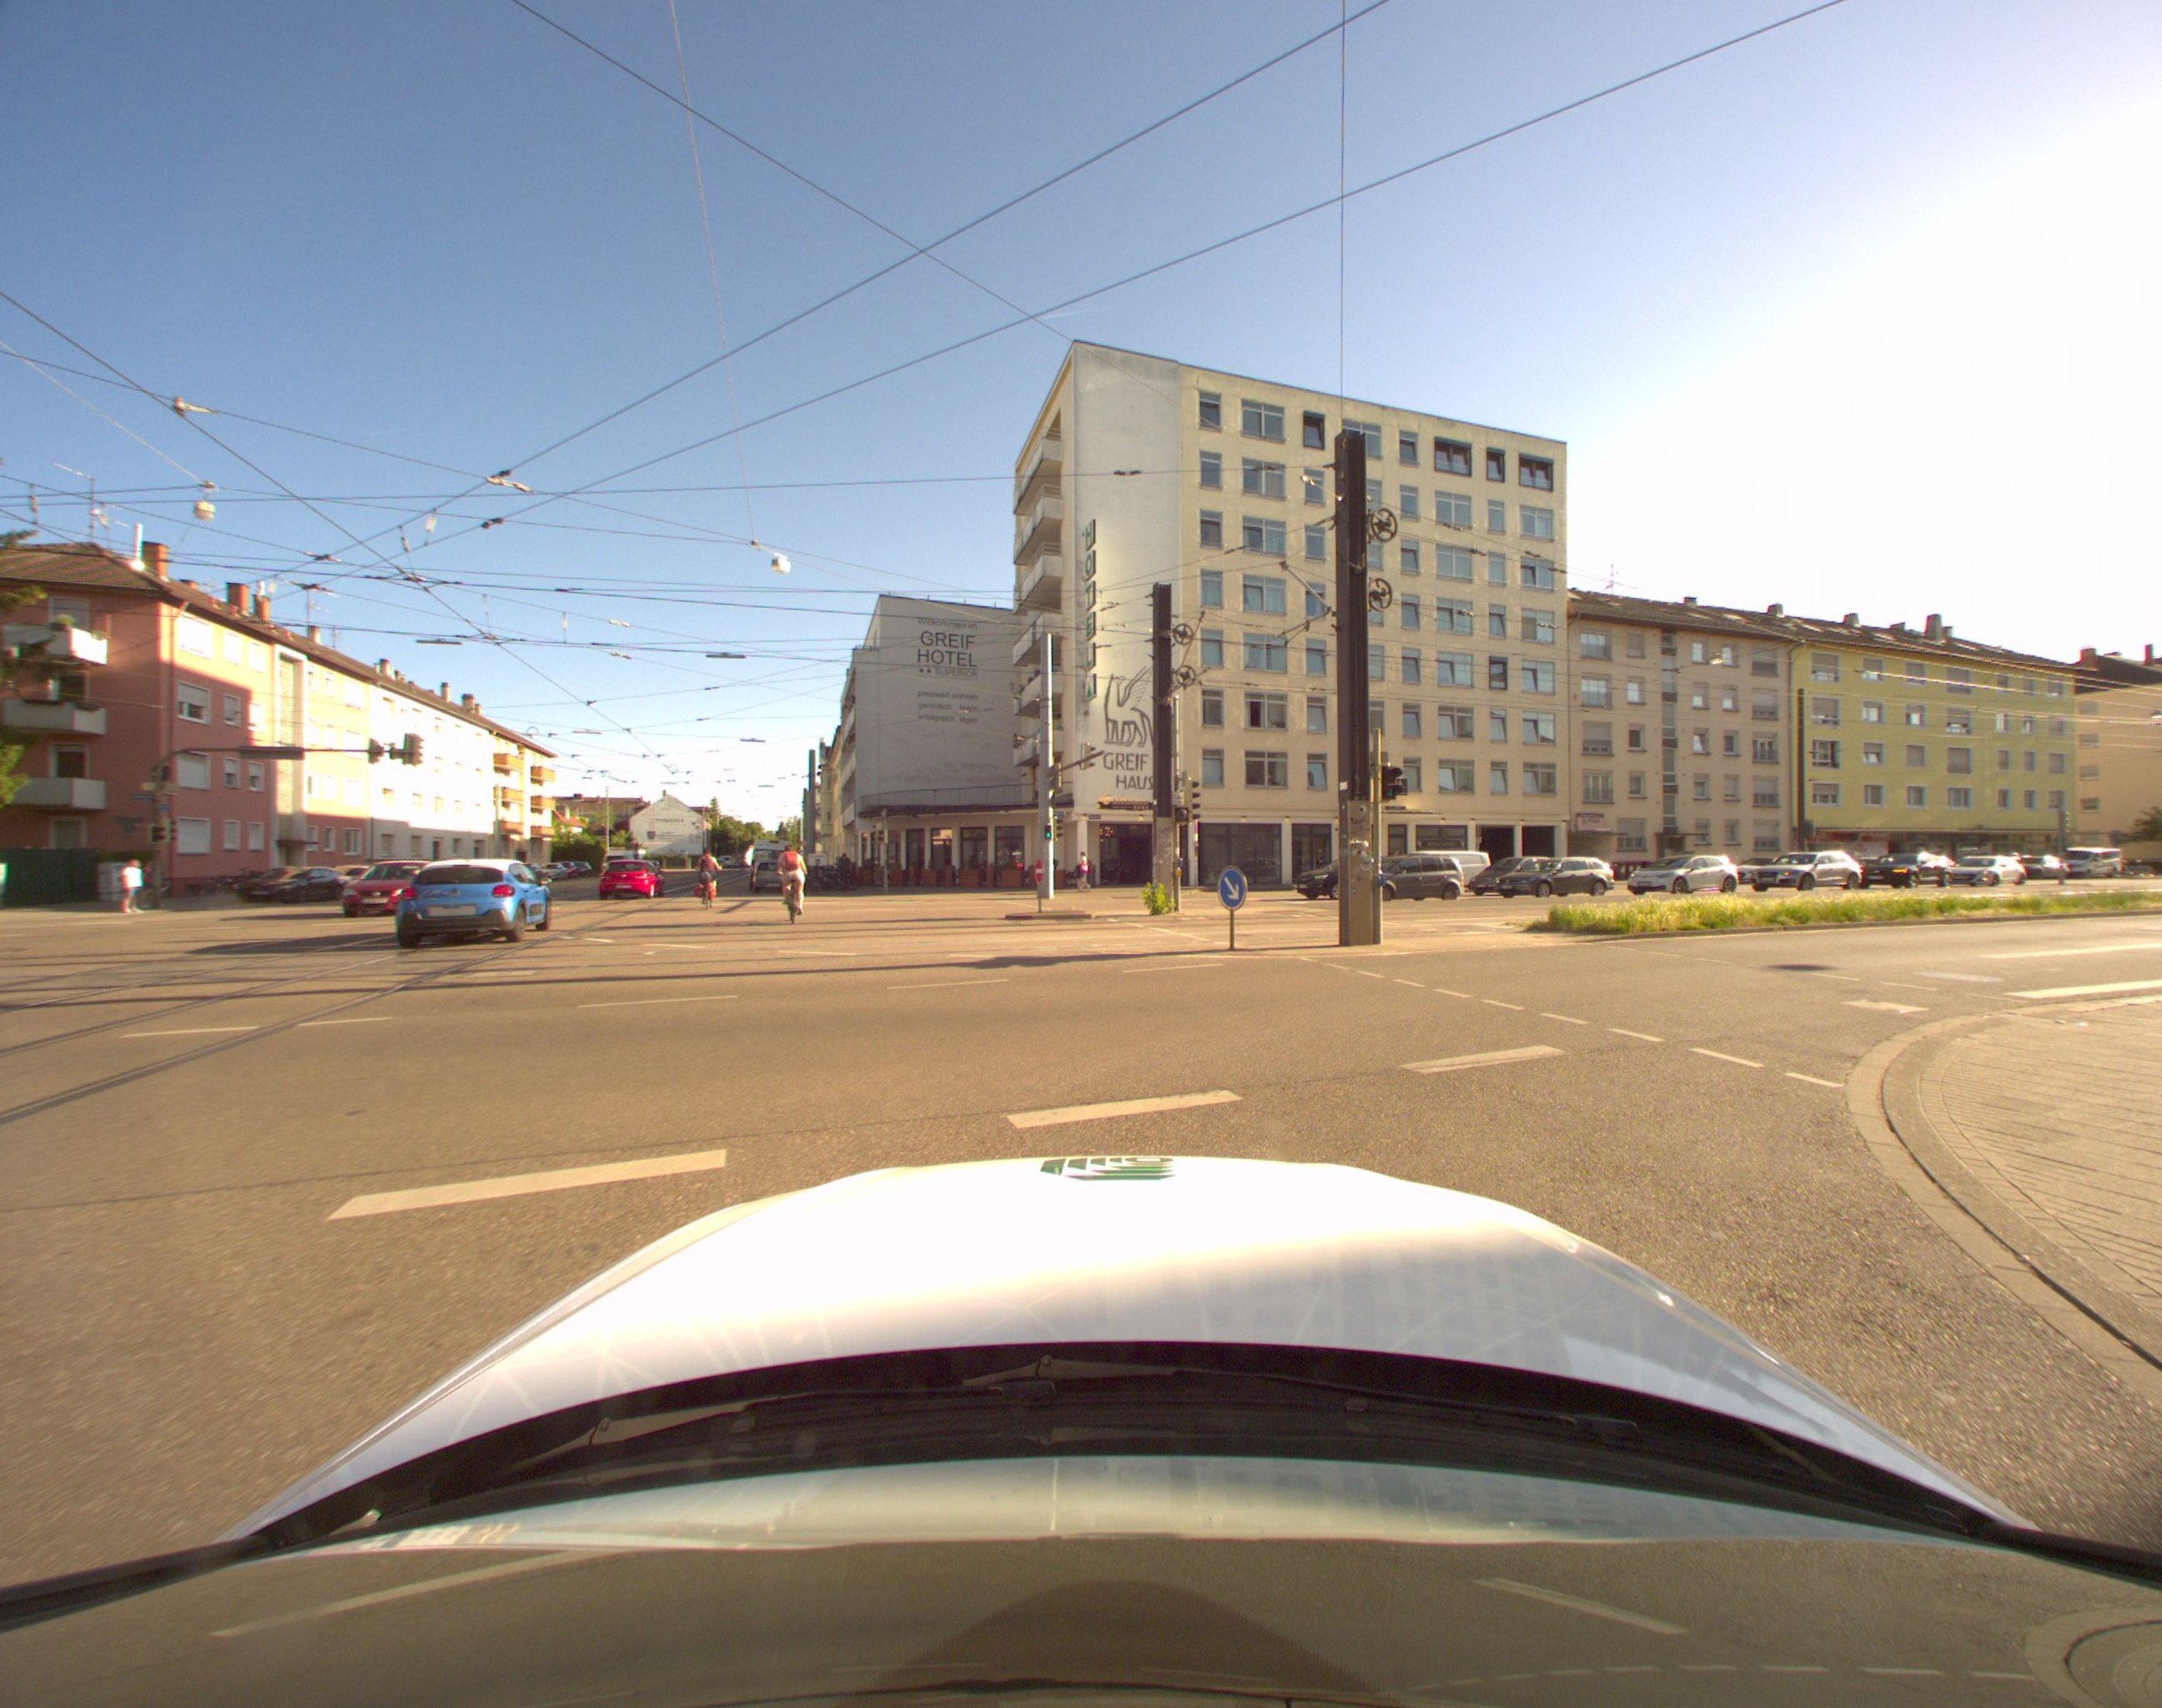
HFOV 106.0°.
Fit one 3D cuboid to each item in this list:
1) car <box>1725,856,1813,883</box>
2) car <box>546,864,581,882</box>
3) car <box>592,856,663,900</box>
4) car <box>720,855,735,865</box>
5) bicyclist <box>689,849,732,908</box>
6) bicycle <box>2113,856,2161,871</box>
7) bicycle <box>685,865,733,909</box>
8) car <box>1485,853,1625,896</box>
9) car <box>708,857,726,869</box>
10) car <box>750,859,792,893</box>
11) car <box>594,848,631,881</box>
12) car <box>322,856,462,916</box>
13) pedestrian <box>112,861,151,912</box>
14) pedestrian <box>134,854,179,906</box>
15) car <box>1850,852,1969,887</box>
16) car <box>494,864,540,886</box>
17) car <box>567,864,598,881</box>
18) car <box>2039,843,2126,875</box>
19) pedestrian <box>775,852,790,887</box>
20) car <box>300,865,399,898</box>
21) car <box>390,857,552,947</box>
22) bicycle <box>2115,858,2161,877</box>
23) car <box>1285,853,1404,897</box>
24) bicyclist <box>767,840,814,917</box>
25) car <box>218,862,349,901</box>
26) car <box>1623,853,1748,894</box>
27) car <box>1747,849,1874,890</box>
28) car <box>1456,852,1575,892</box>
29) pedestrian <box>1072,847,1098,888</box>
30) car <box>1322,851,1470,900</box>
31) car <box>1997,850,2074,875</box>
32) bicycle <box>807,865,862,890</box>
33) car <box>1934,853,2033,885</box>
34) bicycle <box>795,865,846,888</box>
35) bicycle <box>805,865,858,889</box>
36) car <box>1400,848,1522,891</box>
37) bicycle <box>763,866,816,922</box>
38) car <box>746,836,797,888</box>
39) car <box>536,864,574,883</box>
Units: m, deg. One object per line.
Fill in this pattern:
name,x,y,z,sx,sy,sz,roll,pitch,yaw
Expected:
car,37.903,0.834,44.866,4.051,1.435,1.772,0,-1,-17
car,-47.069,1.695,74.138,1.876,1.576,3.971,2,-1,-21
car,-17.210,0.883,31.049,1.791,1.522,3.736,2,-1,-21
car,-64.389,1.155,148.223,2.080,1.763,5.003,2,-1,-19
bicyclist,-10.792,0.713,23.770,0.943,1.673,1.073,2,-2,-18
bicycle,73.500,0.661,56.622,0.806,1.022,2.060,2,-2,-30
bicycle,-10.728,0.933,23.565,0.943,1.224,2.082,2,-1,-17
car,17.310,0.753,29.768,4.535,1.491,1.814,1,-1,-16
car,-58.192,1.452,130.288,2.225,1.932,4.917,2,-1,-19
car,-14.279,0.986,37.385,1.664,1.431,3.859,2,-1,-22
car,-46.339,1.092,80.615,2.425,3.142,3.466,2,-2,-19
car,-18.801,0.822,22.437,1.785,1.486,3.801,-1,-1,-21
pedestrian,-29.882,1.026,25.649,0.518,1.568,0.570,2,-2,-19
pedestrian,-31.164,0.861,27.447,0.696,1.722,0.789,1,-2,28
car,36.936,0.713,36.317,4.568,1.480,1.956,1,-1,-20
car,-41.925,1.524,60.575,1.876,1.576,3.971,2,-1,-21
car,-48.974,1.777,80.037,1.876,1.576,3.971,2,-1,-21
car,67.459,0.356,54.880,5.304,2.106,1.997,0,-1,-19
pedestrian,-14.511,0.763,39.576,0.615,1.654,0.666,2,-2,-22
car,-34.132,1.241,38.161,1.909,1.437,4.077,2,-1,-18
car,-11.118,0.797,15.117,1.745,1.452,3.630,1,-1,-26
bicycle,72.041,0.905,55.469,0.701,1.206,1.946,3,-2,-44
car,9.902,0.772,30.653,4.045,1.576,1.783,1,-1,-19
bicyclist,-6.533,0.547,18.357,0.811,1.692,0.931,2,-2,-12
car,-32.376,1.153,33.254,2.162,1.432,4.408,2,-3,-21
car,23.303,0.738,31.423,4.243,1.515,1.832,1,-1,-20
car,30.205,0.659,33.735,4.629,1.577,1.859,-1,-2,-19
car,18.059,0.749,33.860,4.322,1.576,1.976,1,-1,-19
pedestrian,0.167,0.589,35.003,0.910,1.746,0.732,2,-2,-20
car,10.620,0.725,27.526,4.447,1.548,1.926,1,-1,-16
car,61.741,0.593,52.710,3.910,1.488,1.761,2,-1,-15
bicycle,-10.983,1.042,36.282,2.260,1.001,0.850,-2,0,-21
car,43.110,0.714,38.907,4.288,1.446,1.815,1,-1,-22
bicycle,-12.298,1.066,38.443,2.260,1.001,0.850,-2,0,-22
bicycle,-11.503,1.040,37.557,2.260,1.001,0.850,-2,0,-22
car,18.002,0.690,38.622,5.323,1.868,1.937,0,2,-18
bicycle,-6.570,0.882,18.468,0.811,1.181,2.055,2,-1,-12
car,-15.956,0.423,42.070,2.273,2.482,4.973,1,-1,-21
car,-45.154,1.651,69.990,1.876,1.576,3.971,2,-1,-21
